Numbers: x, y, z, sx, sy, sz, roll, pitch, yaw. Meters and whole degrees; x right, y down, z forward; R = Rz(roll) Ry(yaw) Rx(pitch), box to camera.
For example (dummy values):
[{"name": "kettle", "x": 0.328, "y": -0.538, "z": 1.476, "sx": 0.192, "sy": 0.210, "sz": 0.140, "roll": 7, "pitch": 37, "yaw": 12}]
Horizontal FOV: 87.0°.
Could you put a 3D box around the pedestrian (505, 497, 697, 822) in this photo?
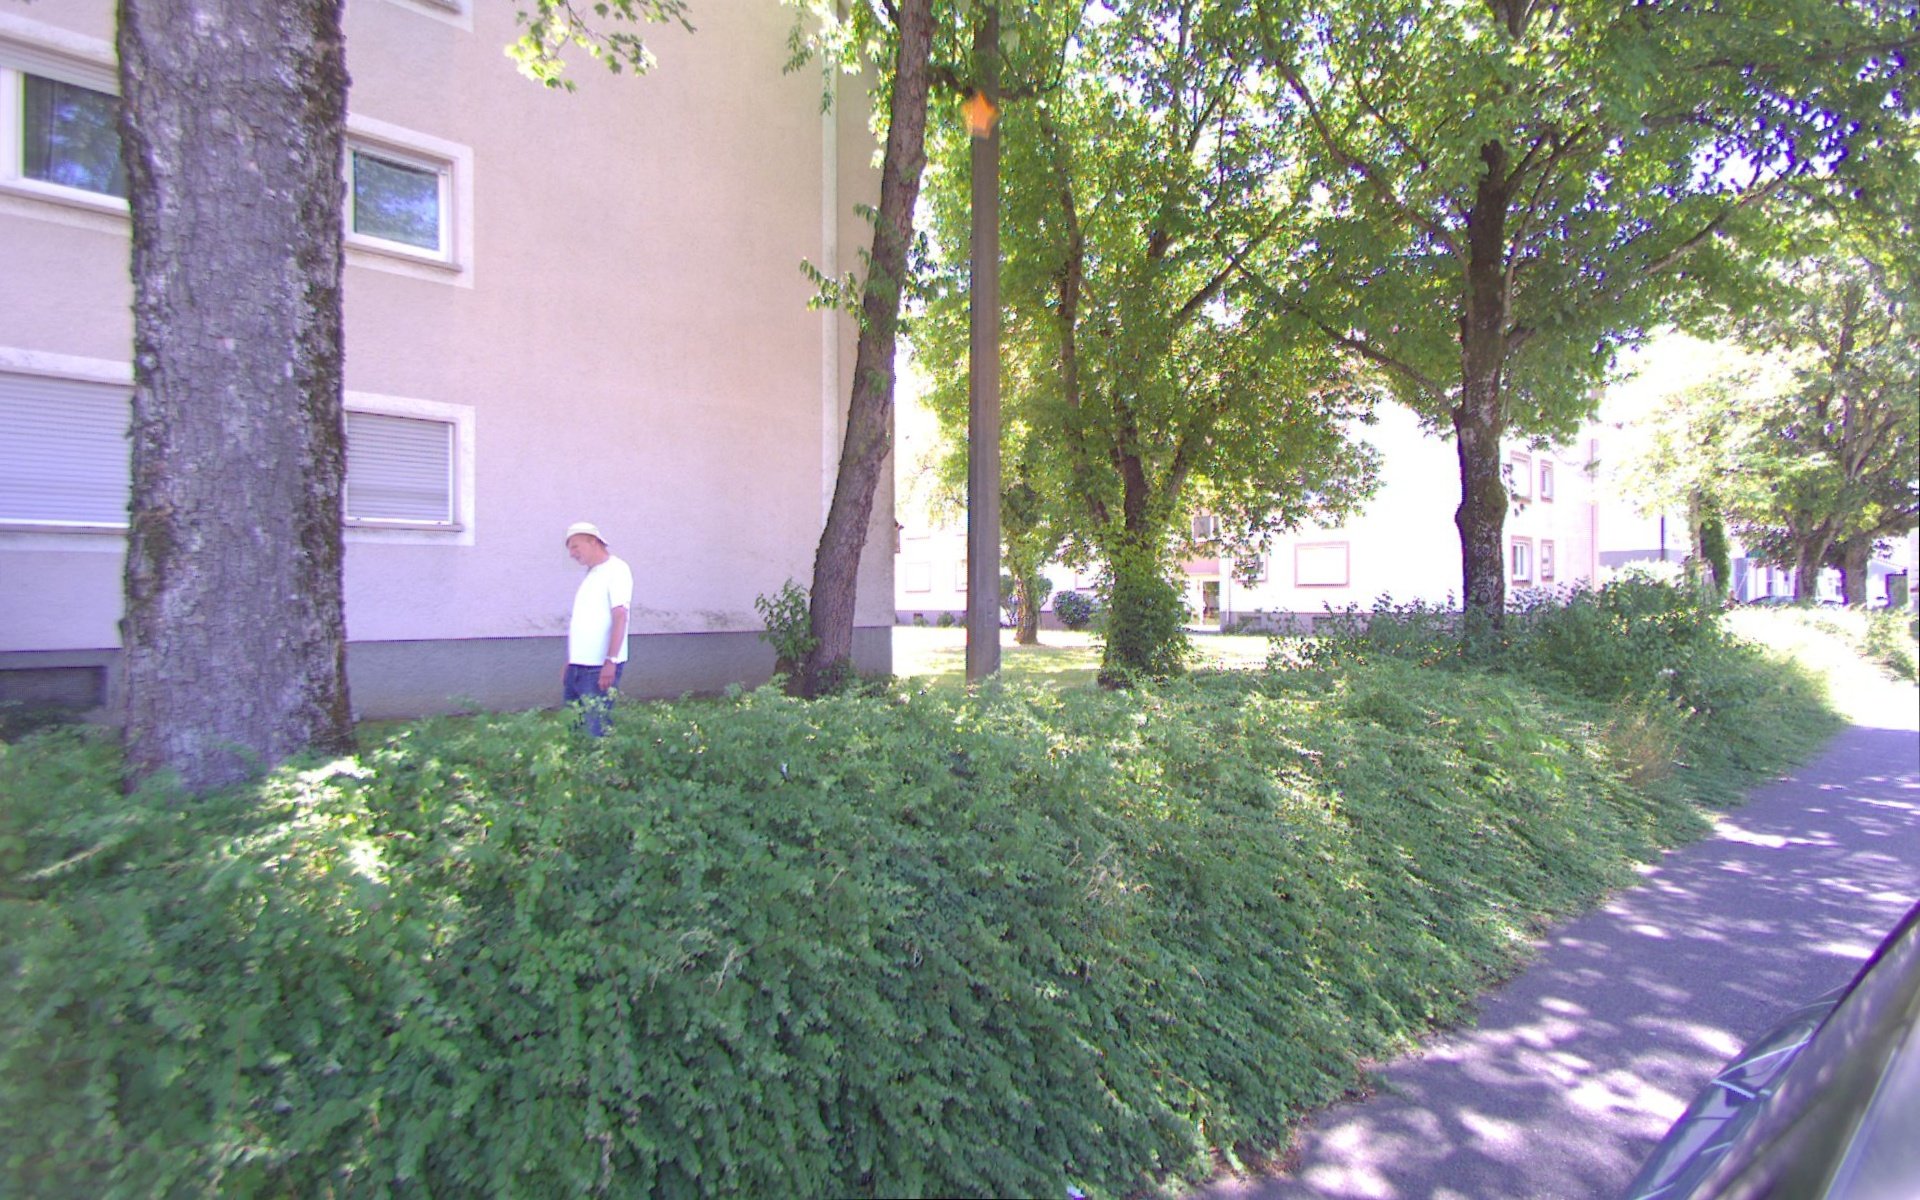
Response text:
[{"name": "pedestrian", "x": -2.273, "y": 0.356, "z": 6.470, "sx": 0.668, "sy": 1.897, "sz": 0.894, "roll": -3, "pitch": -1, "yaw": 28}]
